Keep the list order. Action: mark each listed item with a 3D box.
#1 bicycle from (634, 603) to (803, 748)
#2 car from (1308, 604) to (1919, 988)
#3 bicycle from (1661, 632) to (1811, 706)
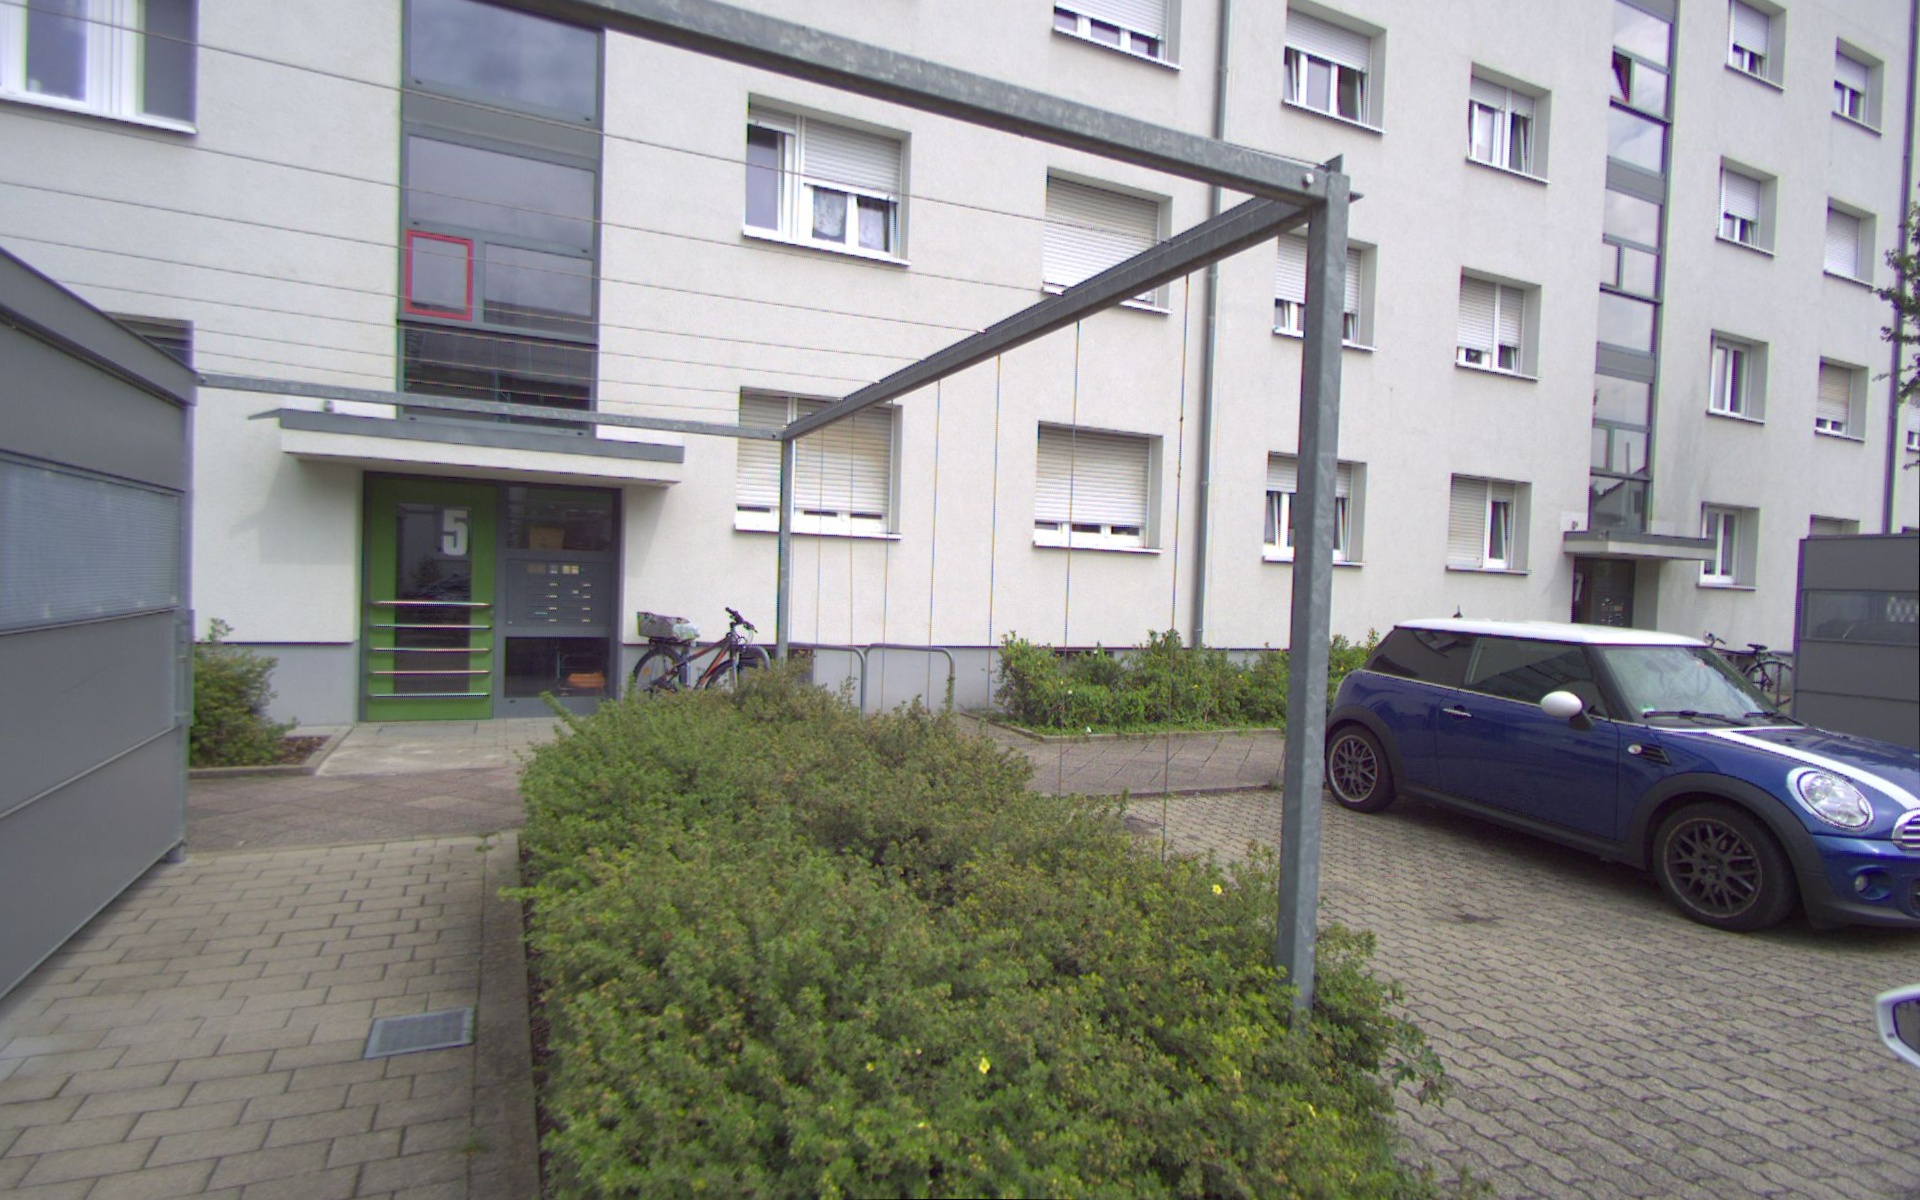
[{"bbox_3d":[-2.143,0.626,8.847,1.513,1.167,0.480,1,0,30],"label":"bicycle"},{"bbox_3d":[4.041,0.839,6.147,1.628,1.481,3.628,2,1,-21],"label":"car"},{"bbox_3d":[12.201,1.068,15.853,1.776,1.040,0.479,2,1,25],"label":"bicycle"}]
